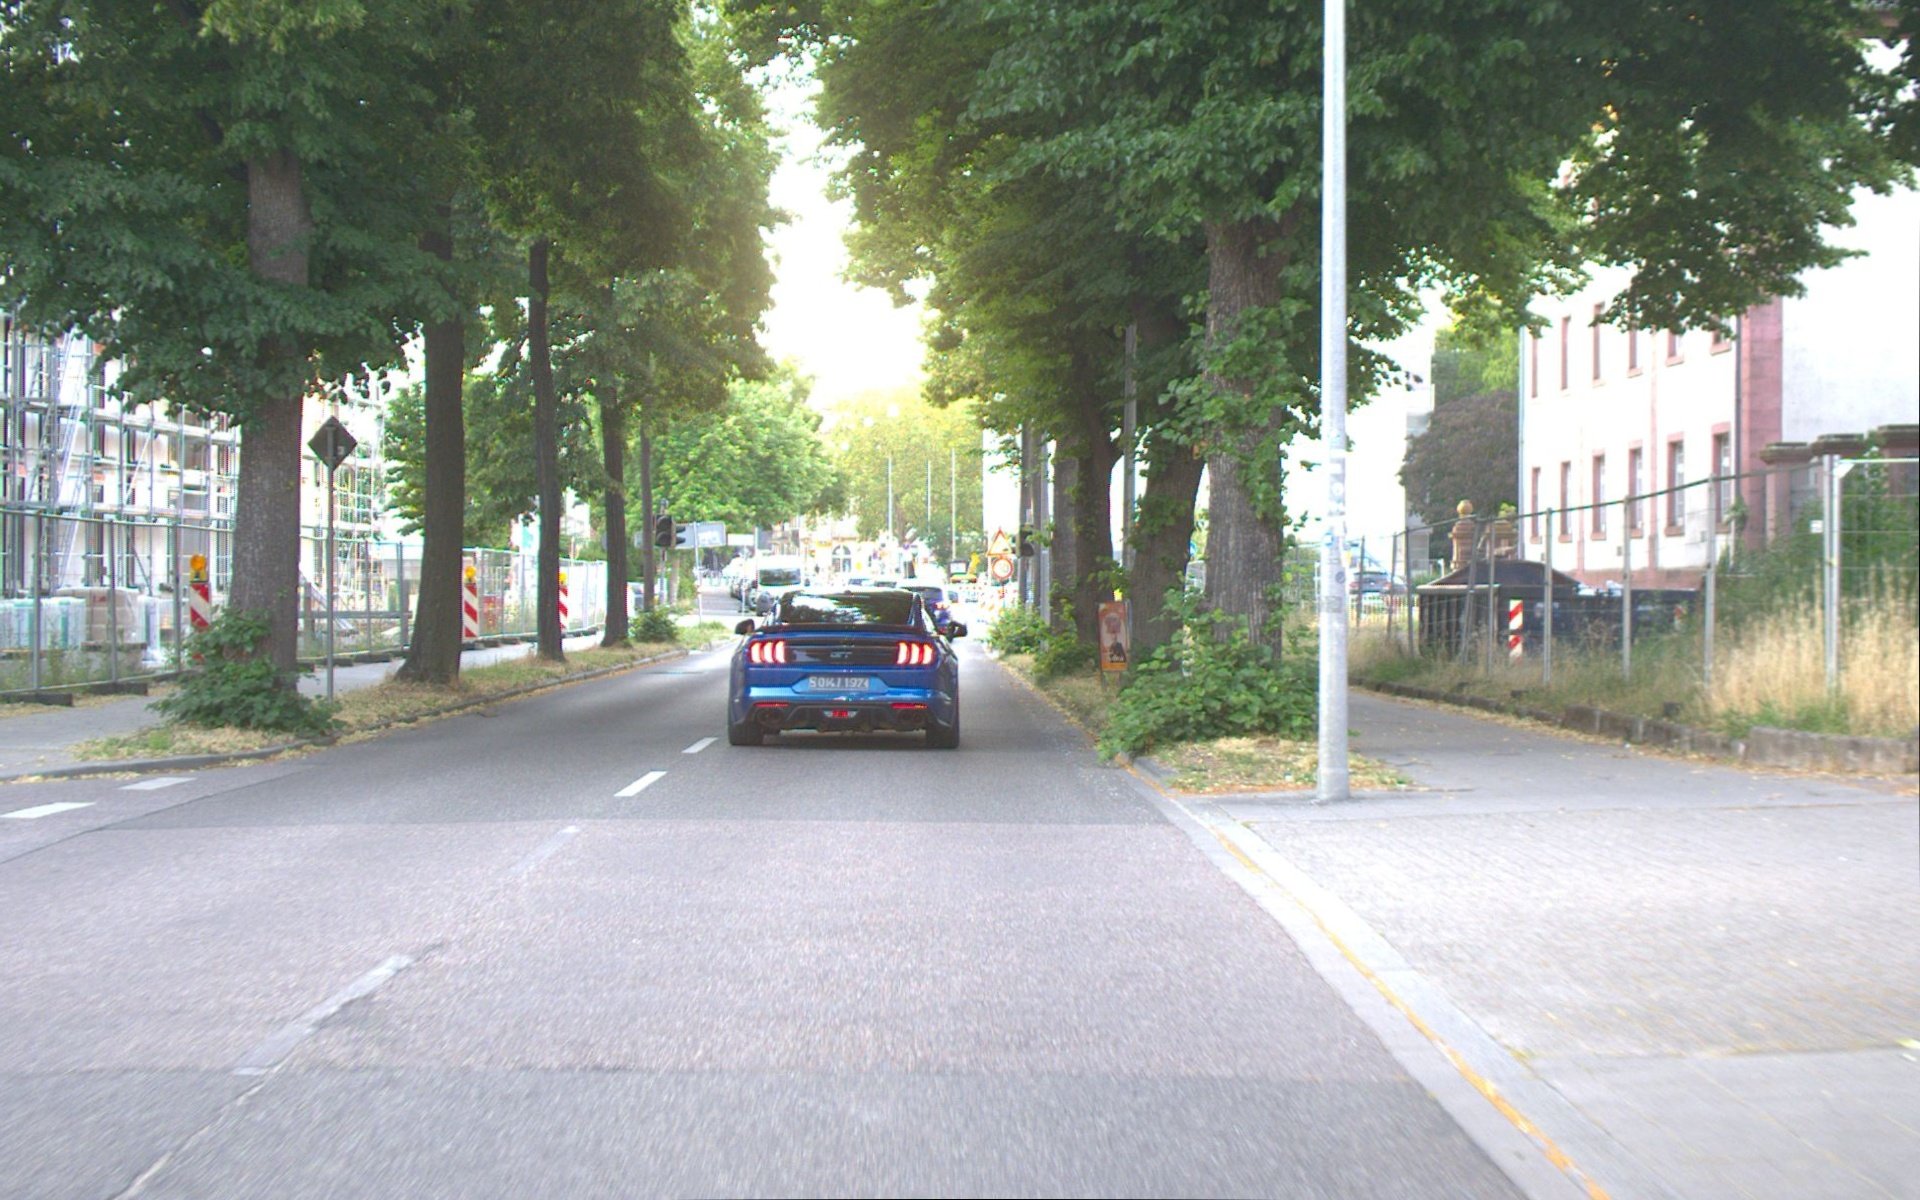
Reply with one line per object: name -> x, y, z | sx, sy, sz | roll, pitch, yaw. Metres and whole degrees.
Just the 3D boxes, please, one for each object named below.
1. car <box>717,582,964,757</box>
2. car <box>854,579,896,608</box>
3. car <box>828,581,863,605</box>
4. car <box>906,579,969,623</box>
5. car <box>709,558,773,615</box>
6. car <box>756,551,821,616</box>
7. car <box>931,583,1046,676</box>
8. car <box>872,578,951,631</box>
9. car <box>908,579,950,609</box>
car -> -0.989, 0.551, 29.687 | 1.947, 1.322, 4.000 | 2, 1, -1
car -> -4.116, -0.309, 166.849 | 1.947, 1.322, 4.000 | 2, 1, -1
car -> -6.719, -0.425, 202.007 | 1.947, 1.322, 4.000 | 2, 1, -1
car -> -0.741, 0.023, 110.325 | 1.947, 1.322, 4.000 | 2, 1, -1
car -> -8.469, -0.544, 133.516 | 2.336, 2.190, 5.309 | 0, 1, -2
car -> -7.255, -0.720, 144.998 | 2.492, 2.687, 5.831 | 0, 1, -5
car -> 0.541, 0.499, 61.467 | 1.947, 1.522, 4.000 | 2, 1, 1
car -> -1.277, 0.101, 92.204 | 1.947, 1.322, 4.000 | 2, 1, 1
car -> -1.478, -0.286, 162.818 | 1.947, 1.322, 4.000 | 2, 1, -1
